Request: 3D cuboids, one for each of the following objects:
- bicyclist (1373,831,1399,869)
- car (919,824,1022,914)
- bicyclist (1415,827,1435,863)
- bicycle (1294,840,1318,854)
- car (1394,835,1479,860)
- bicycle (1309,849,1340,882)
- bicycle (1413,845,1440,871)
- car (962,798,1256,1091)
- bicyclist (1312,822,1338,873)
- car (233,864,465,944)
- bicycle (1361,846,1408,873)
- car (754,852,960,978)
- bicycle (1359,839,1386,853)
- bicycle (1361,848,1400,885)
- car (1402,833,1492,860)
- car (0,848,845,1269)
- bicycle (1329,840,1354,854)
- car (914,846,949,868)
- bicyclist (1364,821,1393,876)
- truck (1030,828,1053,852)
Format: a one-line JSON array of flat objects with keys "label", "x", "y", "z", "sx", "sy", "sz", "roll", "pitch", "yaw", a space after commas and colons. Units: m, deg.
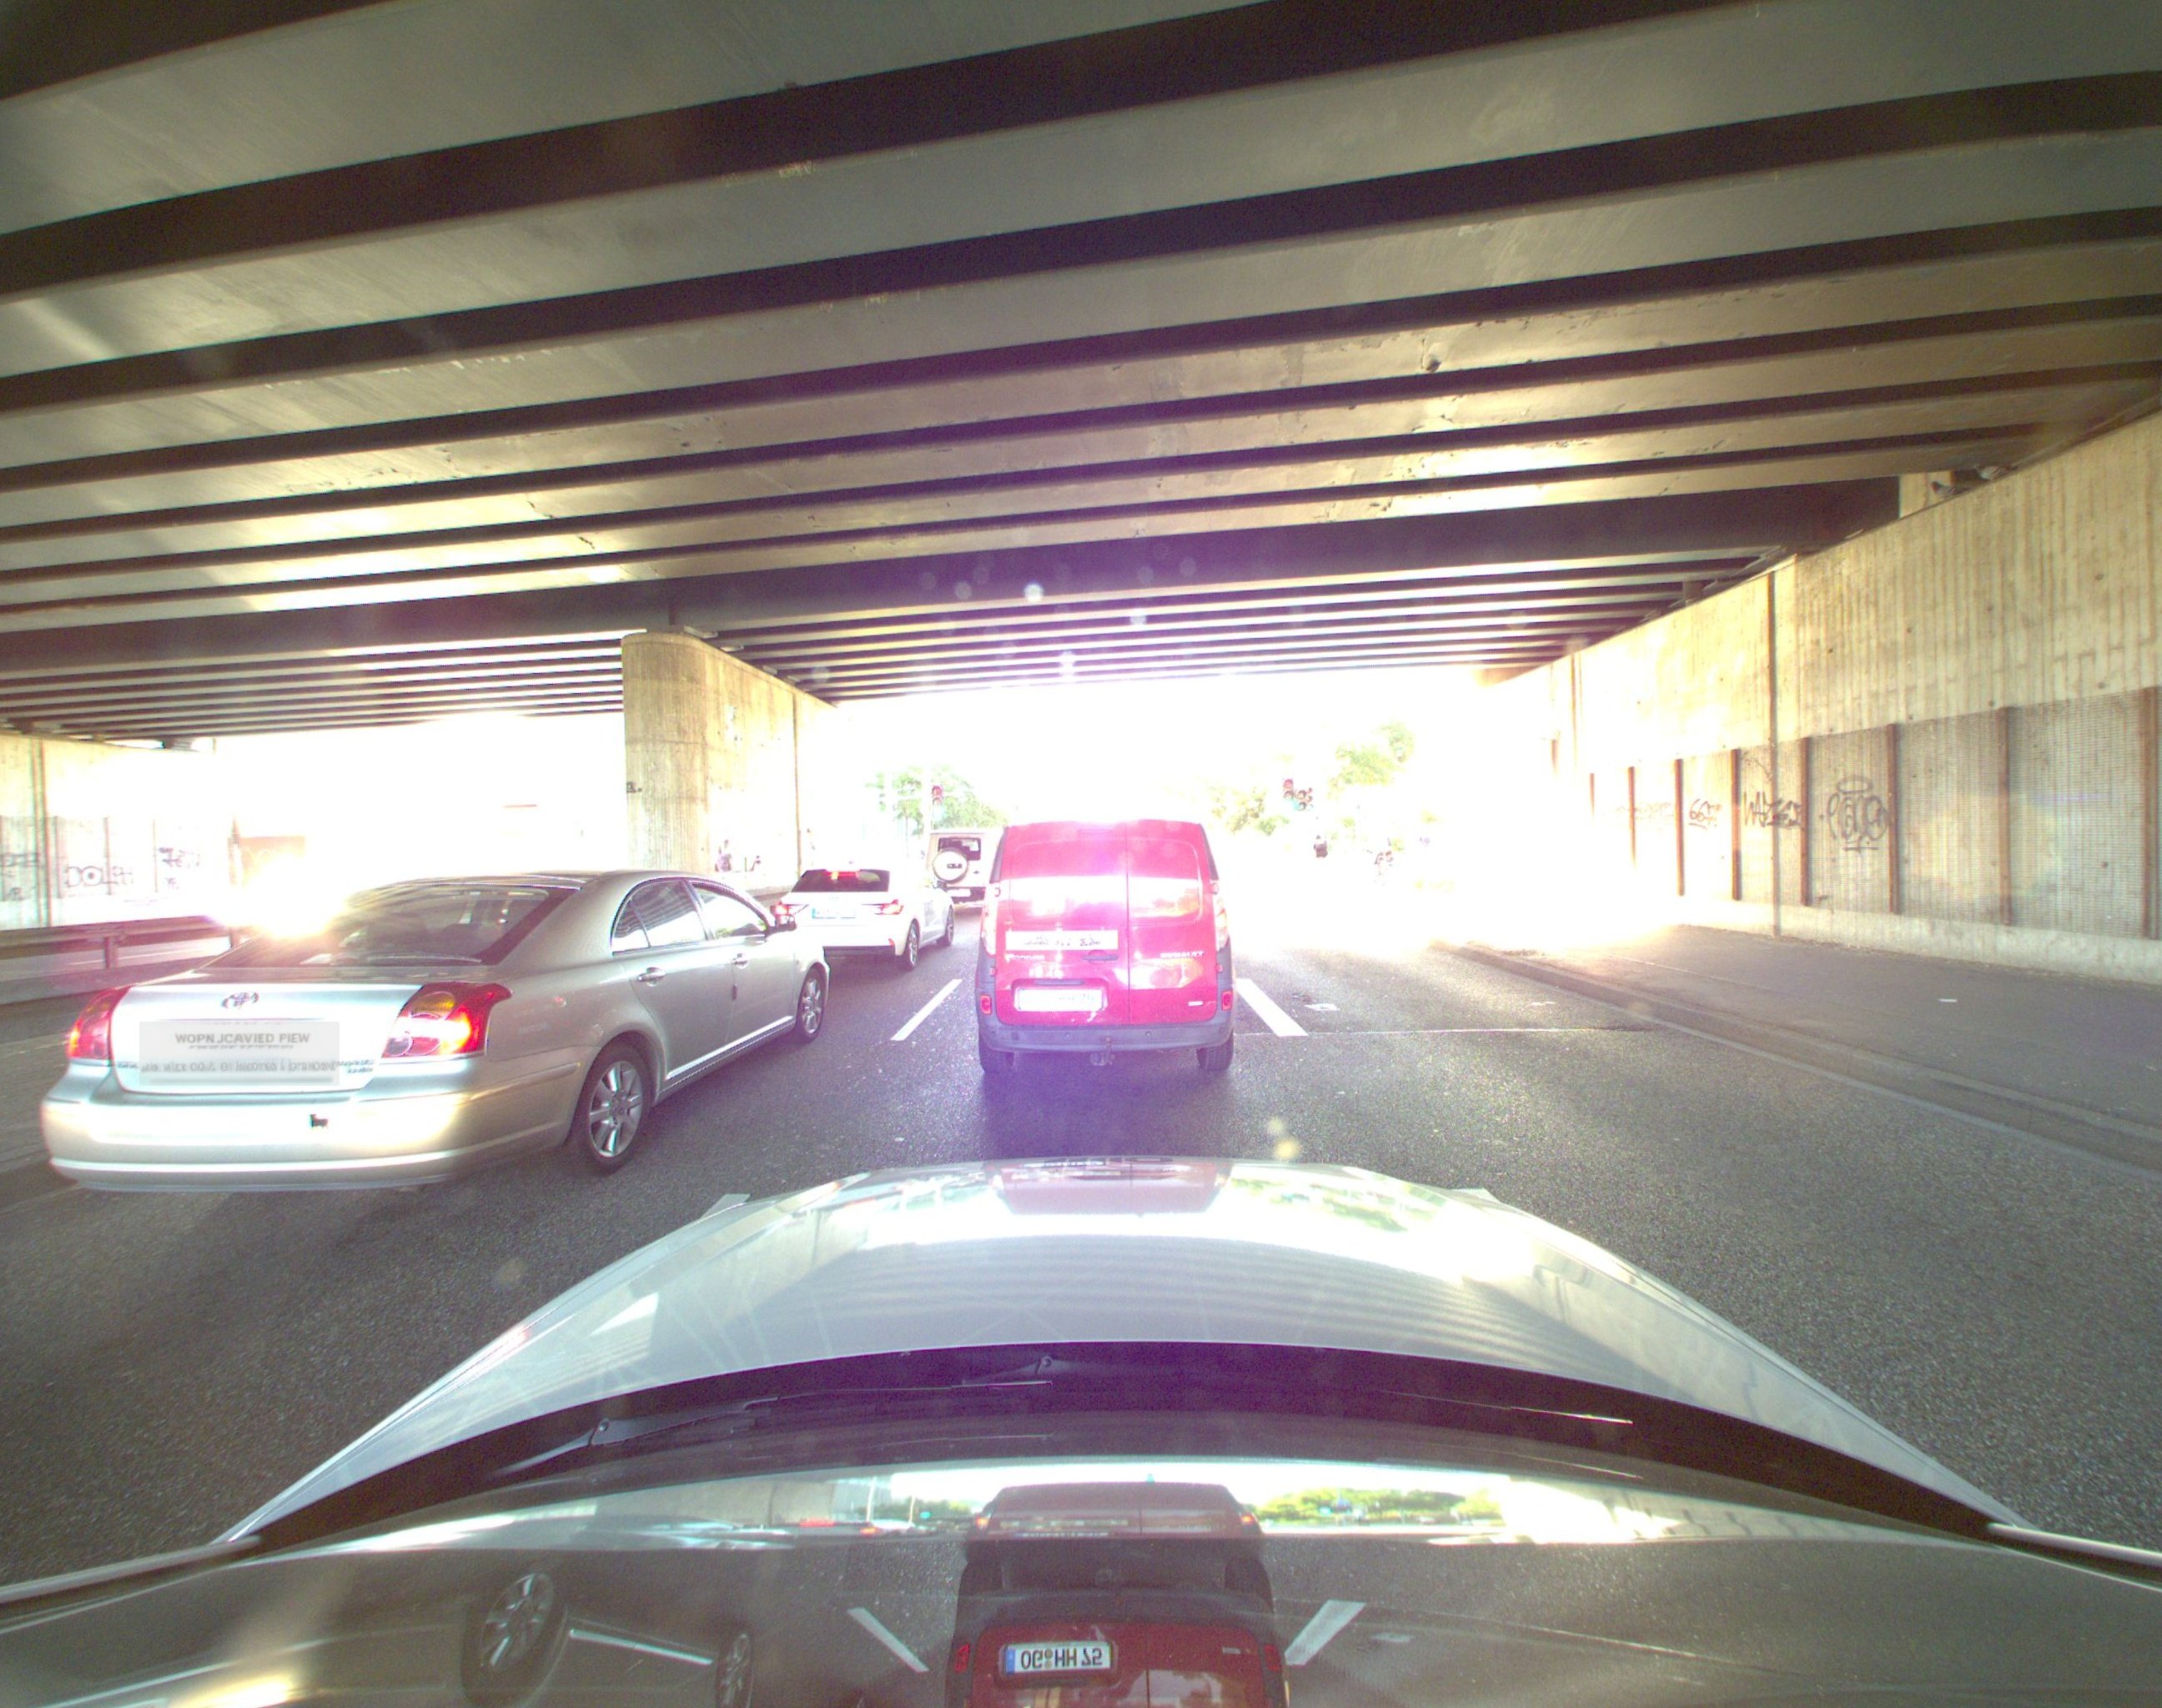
[{"label": "bicyclist", "x": 12.229, "y": -0.159, "z": 32.661, "sx": 0.666, "sy": 1.474, "sz": 0.747, "roll": 0, "pitch": -1, "yaw": -17}, {"label": "car", "x": -2.634, "y": 0.354, "z": 20.413, "sx": 1.794, "sy": 1.989, "sz": 4.591, "roll": 0, "pitch": -1, "yaw": 2}, {"label": "bicyclist", "x": 14.534, "y": -0.389, "z": 34.387, "sx": 0.645, "sy": 1.480, "sz": 0.620, "roll": -1, "pitch": 1, "yaw": 8}, {"label": "bicycle", "x": 17.188, "y": -0.506, "z": 62.176, "sx": 1.734, "sy": 1.023, "sz": 0.595, "roll": -1, "pitch": -1, "yaw": 10}, {"label": "car", "x": 22.130, "y": -0.399, "z": 50.865, "sx": 4.521, "sy": 1.514, "sz": 1.832, "roll": 0, "pitch": -1, "yaw": 9}, {"label": "bicycle", "x": 7.848, "y": 0.377, "z": 26.295, "sx": 0.589, "sy": 1.023, "sz": 1.752, "roll": 0, "pitch": -1, "yaw": 4}, {"label": "bicycle", "x": 14.547, "y": 0.175, "z": 34.348, "sx": 0.663, "sy": 1.023, "sz": 1.755, "roll": -1, "pitch": 2, "yaw": 9}, {"label": "car", "x": 0.231, "y": 0.573, "z": 7.014, "sx": 1.798, "sy": 1.794, "sz": 4.001, "roll": 0, "pitch": -1, "yaw": 2}, {"label": "bicyclist", "x": 7.819, "y": -0.201, "z": 26.163, "sx": 0.589, "sy": 1.613, "sz": 0.943, "roll": 0, "pitch": -1, "yaw": 4}, {"label": "car", "x": -16.676, "y": 1.066, "z": 18.846, "sx": 1.610, "sy": 1.519, "sz": 3.832, "roll": -2, "pitch": 1, "yaw": 6}, {"label": "bicycle", "x": 12.198, "y": 0.224, "z": 32.787, "sx": 0.673, "sy": 1.023, "sz": 2.044, "roll": 0, "pitch": -1, "yaw": -17}, {"label": "car", "x": -2.952, "y": 0.722, "z": 11.591, "sx": 1.807, "sy": 1.438, "sz": 3.732, "roll": -1, "pitch": 1, "yaw": 1}, {"label": "bicycle", "x": 21.306, "y": -0.584, "z": 59.538, "sx": 1.733, "sy": 1.023, "sz": 0.596, "roll": -1, "pitch": -1, "yaw": 13}, {"label": "bicycle", "x": 8.664, "y": 0.349, "z": 23.629, "sx": 0.589, "sy": 1.023, "sz": 1.752, "roll": 0, "pitch": -1, "yaw": 4}, {"label": "car", "x": 21.588, "y": -0.416, "z": 48.199, "sx": 4.521, "sy": 1.514, "sz": 1.832, "roll": 0, "pitch": -1, "yaw": 9}, {"label": "car", "x": -3.007, "y": 0.738, "z": 5.104, "sx": 1.727, "sy": 1.480, "sz": 4.319, "roll": -1, "pitch": 0, "yaw": 0}, {"label": "bicycle", "x": 19.420, "y": -0.535, "z": 60.734, "sx": 1.734, "sy": 1.023, "sz": 0.595, "roll": -1, "pitch": -1, "yaw": 10}, {"label": "car", "x": -13.195, "y": 0.252, "z": 72.155, "sx": 1.817, "sy": 1.737, "sz": 4.634, "roll": -4, "pitch": 0, "yaw": 4}, {"label": "bicyclist", "x": 8.656, "y": -0.157, "z": 23.702, "sx": 0.589, "sy": 1.548, "sz": 0.770, "roll": 0, "pitch": -1, "yaw": 3}, {"label": "truck", "x": -5.404, "y": -1.868, "z": 111.750, "sx": 2.399, "sy": 3.026, "sz": 6.661, "roll": -4, "pitch": 0, "yaw": 3}]
